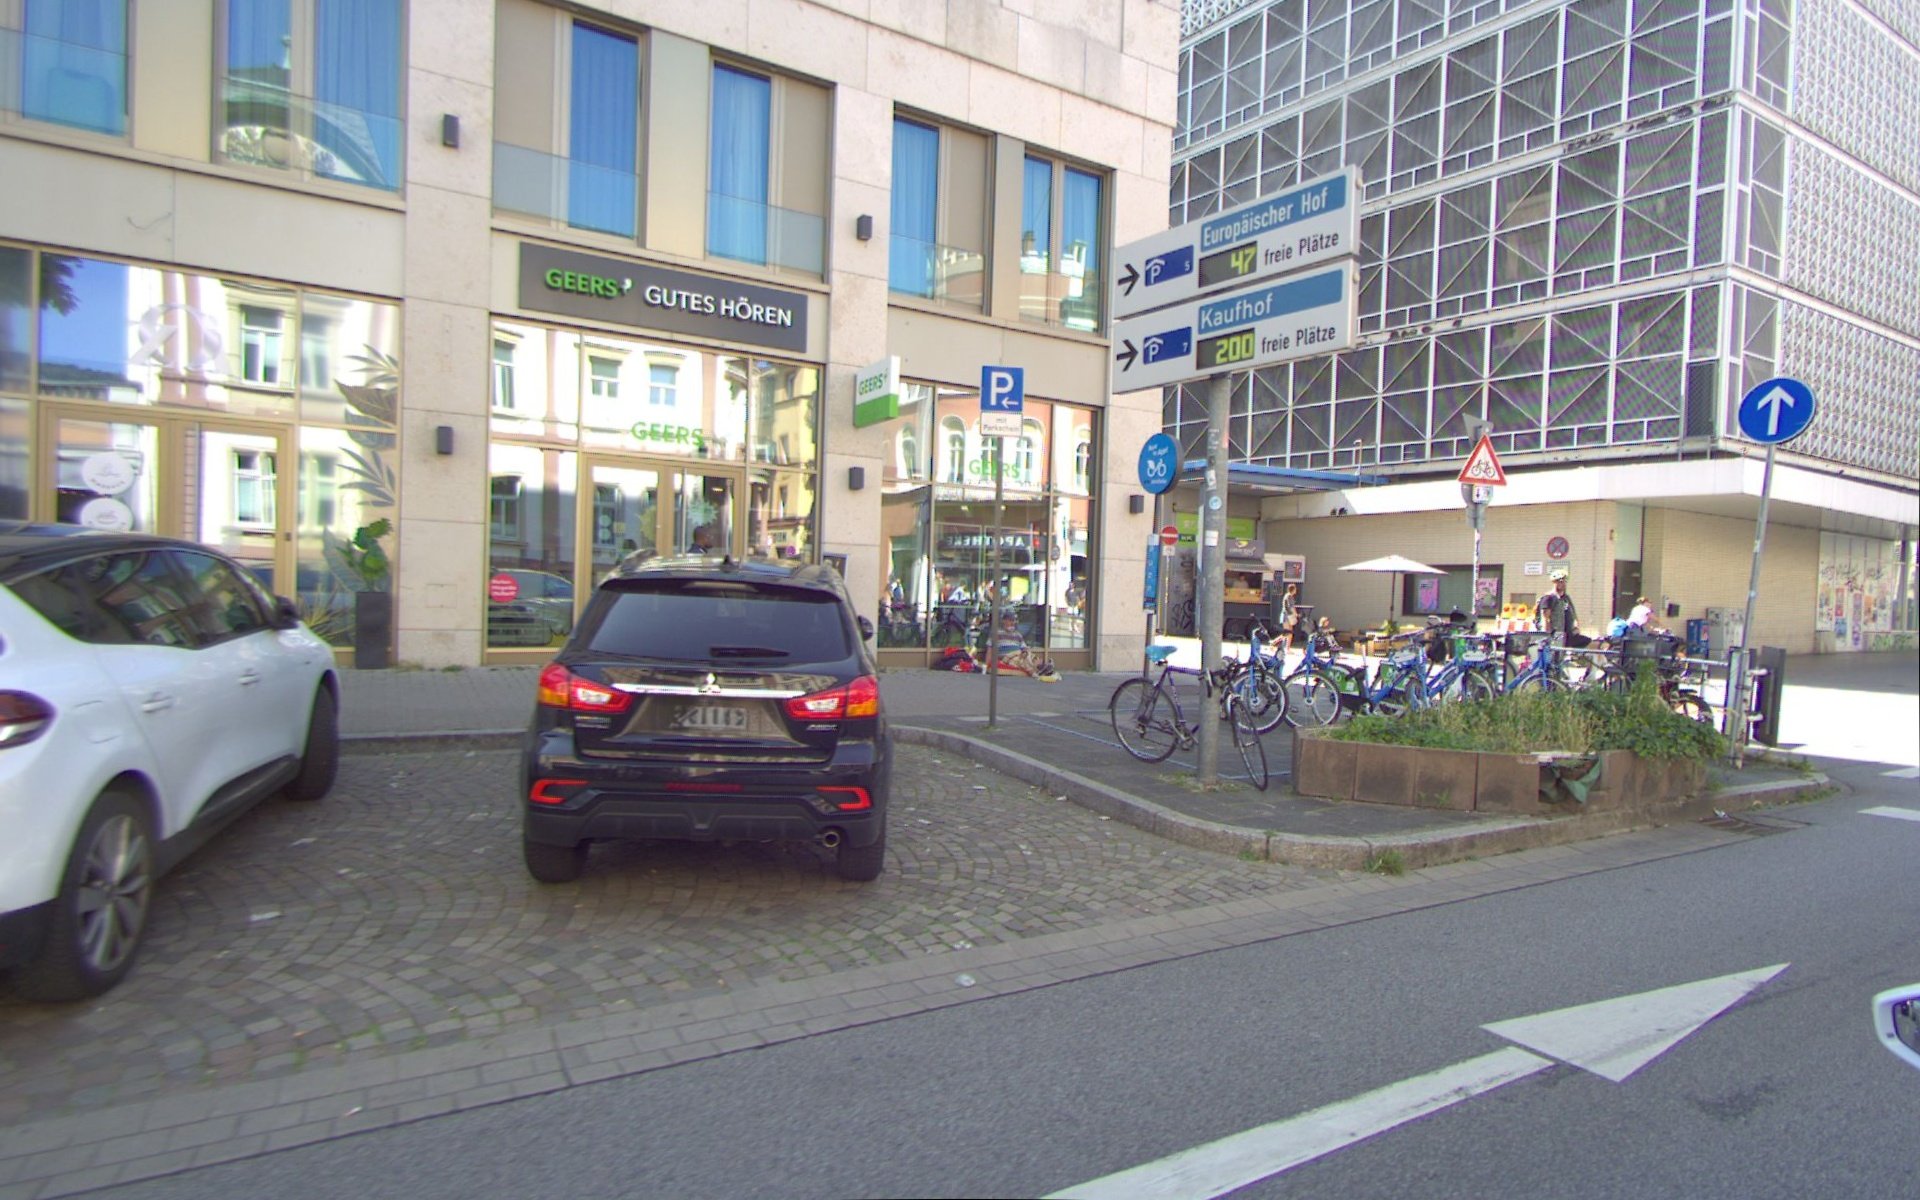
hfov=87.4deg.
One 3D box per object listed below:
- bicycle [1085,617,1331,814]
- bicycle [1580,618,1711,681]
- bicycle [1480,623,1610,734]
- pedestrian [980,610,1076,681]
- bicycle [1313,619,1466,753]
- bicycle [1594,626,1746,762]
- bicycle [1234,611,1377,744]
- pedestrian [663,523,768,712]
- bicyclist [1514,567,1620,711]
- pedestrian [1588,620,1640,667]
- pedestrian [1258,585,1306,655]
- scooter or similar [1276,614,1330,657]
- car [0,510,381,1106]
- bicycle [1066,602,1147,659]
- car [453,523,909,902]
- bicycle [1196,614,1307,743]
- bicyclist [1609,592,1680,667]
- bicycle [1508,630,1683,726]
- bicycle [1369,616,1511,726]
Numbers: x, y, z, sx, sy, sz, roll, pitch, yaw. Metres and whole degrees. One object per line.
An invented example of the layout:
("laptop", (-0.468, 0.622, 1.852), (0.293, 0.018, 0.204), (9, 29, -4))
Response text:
("bicycle", (1.761, 0.770, 7.562), (0.478, 1.142, 2.131), (0, 3, -27))
("bicycle", (14.509, 1.026, 21.324), (2.167, 1.284, 0.736), (0, 0, 14))
("bicycle", (7.062, 0.893, 12.242), (0.593, 1.184, 2.066), (2, 0, 7))
("pedestrian", (0.966, 0.632, 14.495), (0.832, 0.938, 1.243), (1, 1, -30))
("bicycle", (4.460, 0.840, 10.613), (0.551, 1.142, 2.062), (1, 3, -4))
("bicycle", (7.420, 0.921, 10.612), (0.593, 1.189, 2.065), (3, 1, 16))
("bicycle", (3.676, 0.772, 10.931), (0.551, 1.142, 2.327), (2, 3, -4))
("pedestrian", (-2.622, 0.163, 10.722), (0.834, 1.904, 0.834), (1, 4, -29))
("bicyclist", (8.732, 0.545, 14.467), (1.003, 1.986, 0.840), (1, 1, -23))
("pedestrian", (16.185, 1.068, 24.860), (0.831, 1.071, 0.717), (1, 5, -31))
("pedestrian", (7.986, 0.484, 24.903), (0.832, 1.681, 0.836), (3, 2, 42))
("scooter or similar", (8.389, 0.863, 24.549), (0.958, 0.977, 0.898), (3, 1, 40))
("car", (-4.247, 0.484, 4.596), (2.071, 1.659, 4.150), (2, 4, -21))
("bicycle", (3.266, 0.659, 22.563), (0.632, 1.141, 2.049), (5, -1, -29))
("car", (-1.441, 0.439, 6.487), (1.922, 1.624, 4.029), (3, 2, -6))
("bicycle", (3.057, 0.784, 10.703), (0.475, 1.142, 1.865), (1, 3, -4))
("bicyclist", (14.520, 0.621, 21.326), (1.055, 1.560, 0.736), (0, 0, 14))
("bicycle", (8.826, 1.044, 14.062), (0.787, 1.142, 1.983), (0, 1, -22))
("bicycle", (5.777, 0.812, 12.246), (0.634, 1.142, 2.063), (1, 1, -3))
